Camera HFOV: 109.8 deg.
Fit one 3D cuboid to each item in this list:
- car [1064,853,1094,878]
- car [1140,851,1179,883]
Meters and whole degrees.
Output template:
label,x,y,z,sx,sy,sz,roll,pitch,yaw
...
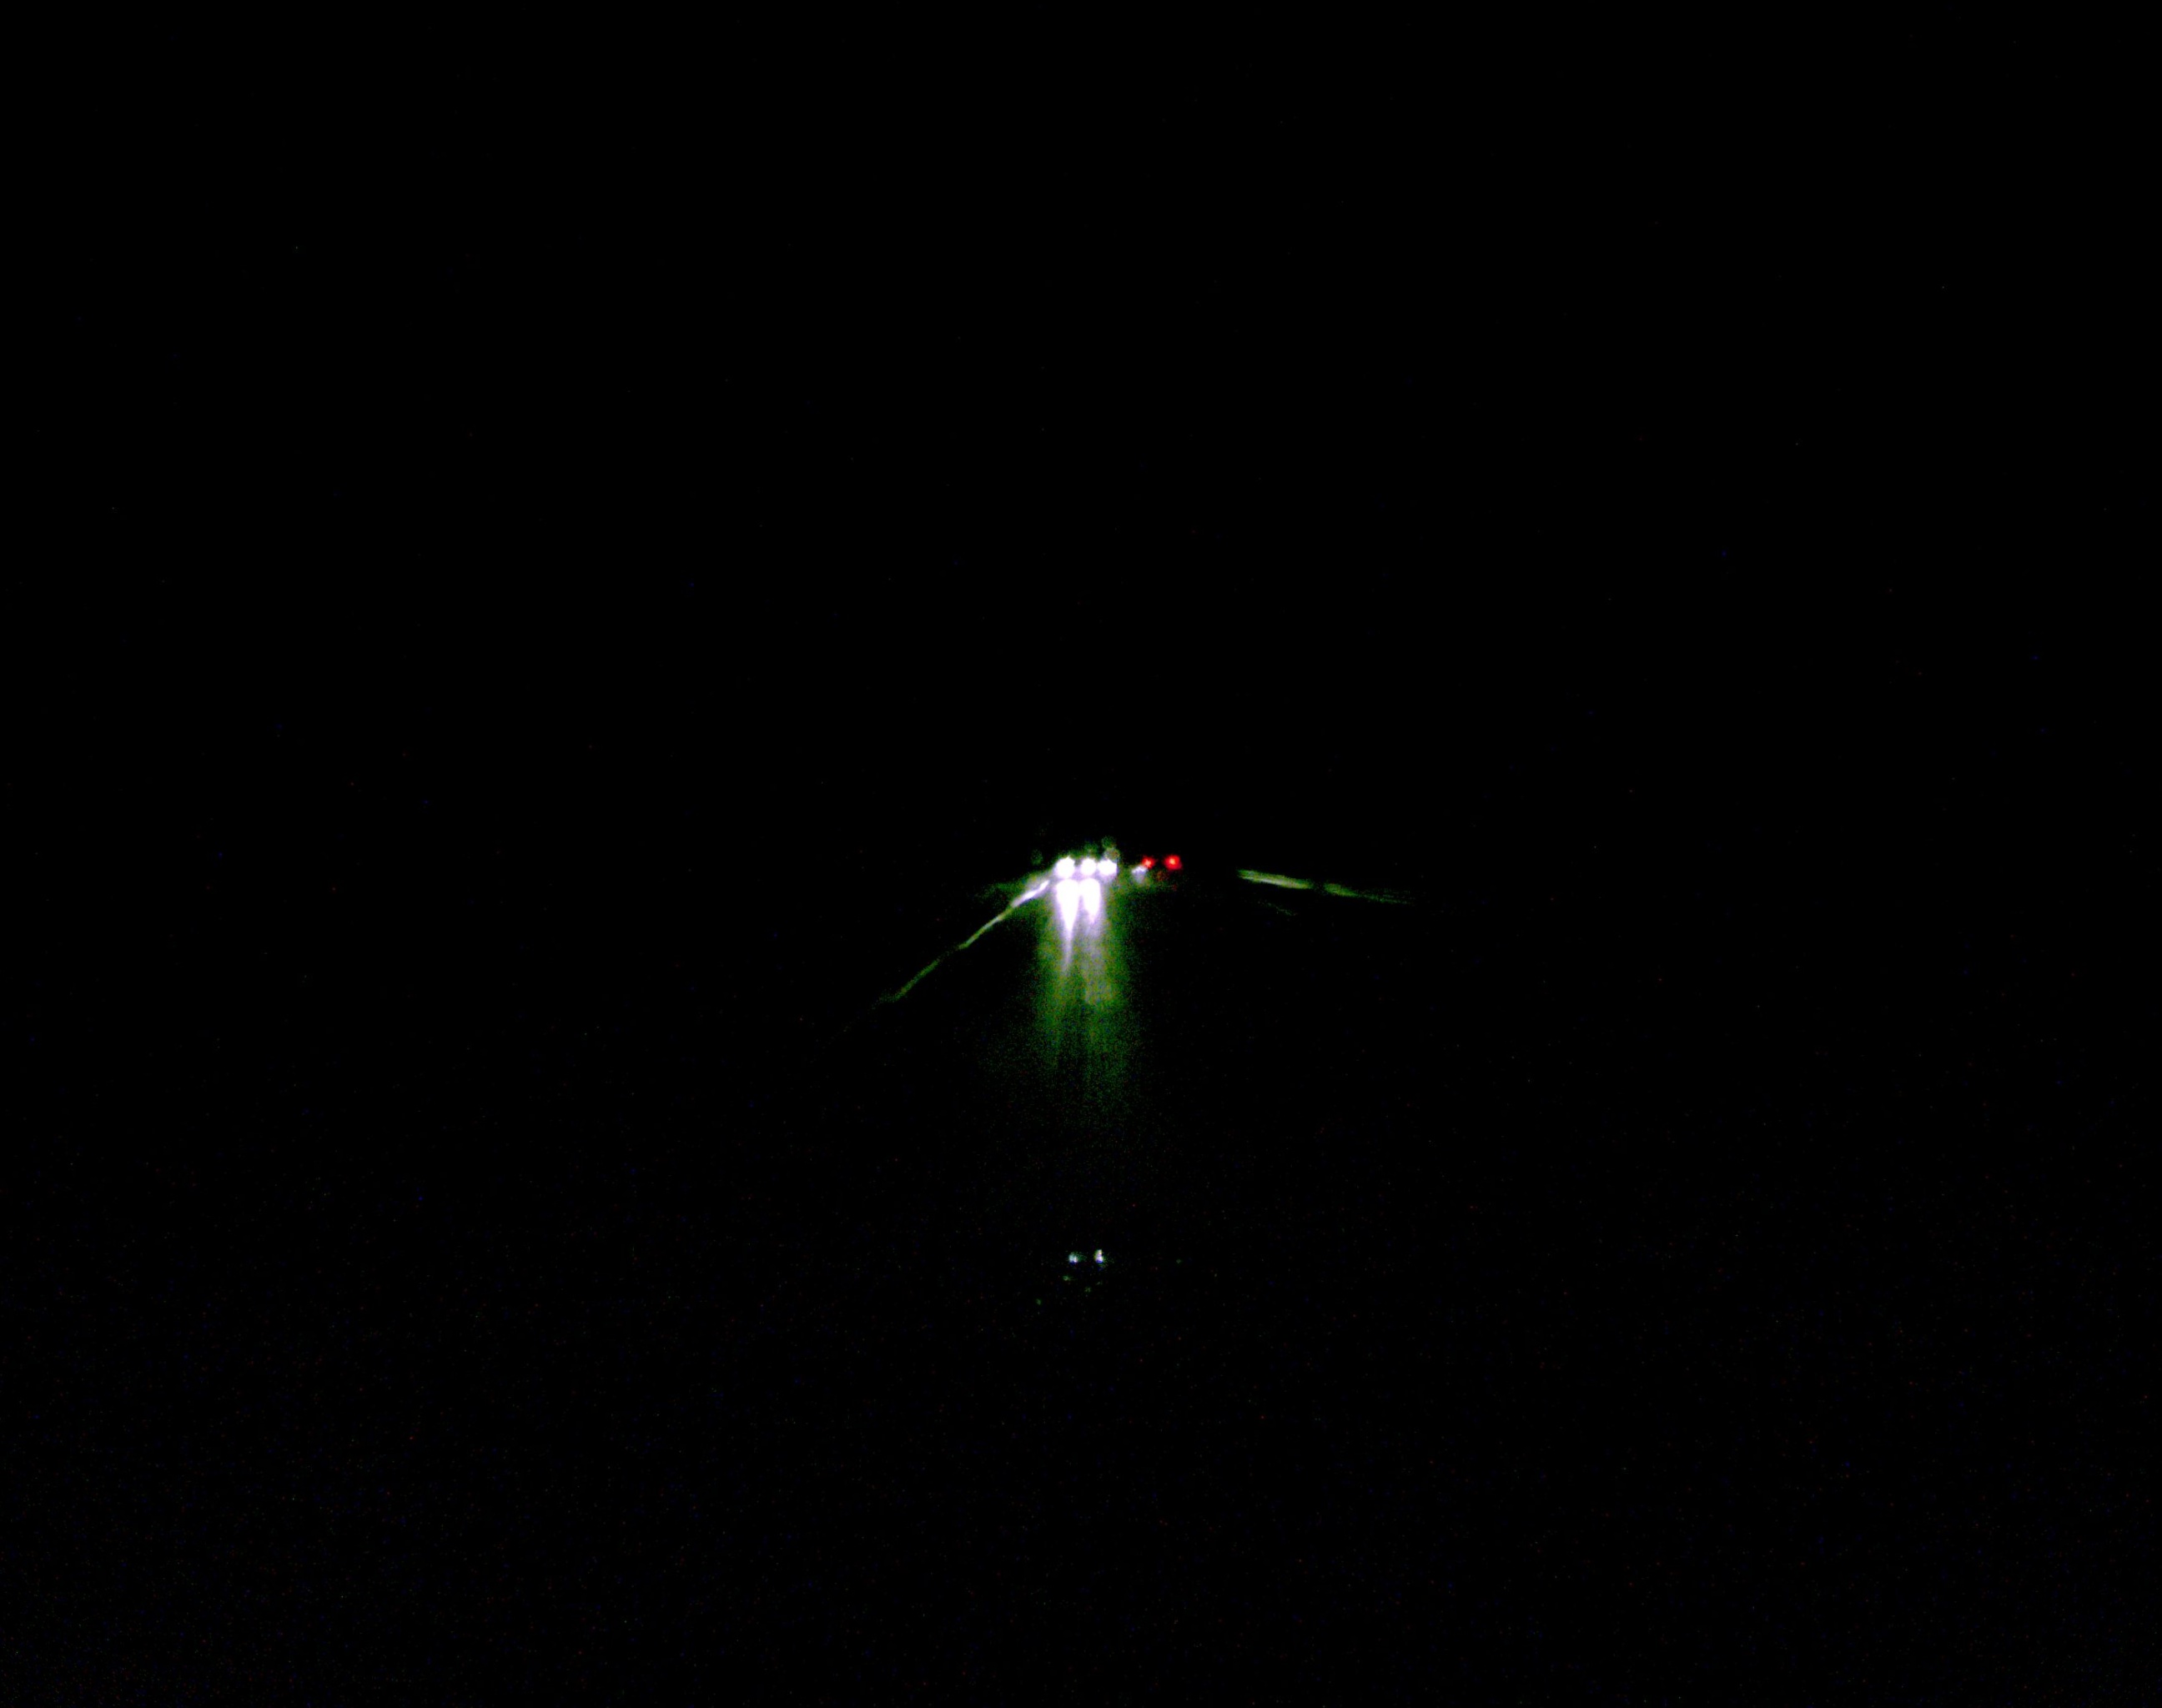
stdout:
label,x,y,z,sx,sy,sz,roll,pitch,yaw
car,-0.086,0.787,50.139,1.901,1.551,4.001,-1,-2,1
car,4.070,0.701,39.790,1.638,1.571,3.745,-1,-2,1
